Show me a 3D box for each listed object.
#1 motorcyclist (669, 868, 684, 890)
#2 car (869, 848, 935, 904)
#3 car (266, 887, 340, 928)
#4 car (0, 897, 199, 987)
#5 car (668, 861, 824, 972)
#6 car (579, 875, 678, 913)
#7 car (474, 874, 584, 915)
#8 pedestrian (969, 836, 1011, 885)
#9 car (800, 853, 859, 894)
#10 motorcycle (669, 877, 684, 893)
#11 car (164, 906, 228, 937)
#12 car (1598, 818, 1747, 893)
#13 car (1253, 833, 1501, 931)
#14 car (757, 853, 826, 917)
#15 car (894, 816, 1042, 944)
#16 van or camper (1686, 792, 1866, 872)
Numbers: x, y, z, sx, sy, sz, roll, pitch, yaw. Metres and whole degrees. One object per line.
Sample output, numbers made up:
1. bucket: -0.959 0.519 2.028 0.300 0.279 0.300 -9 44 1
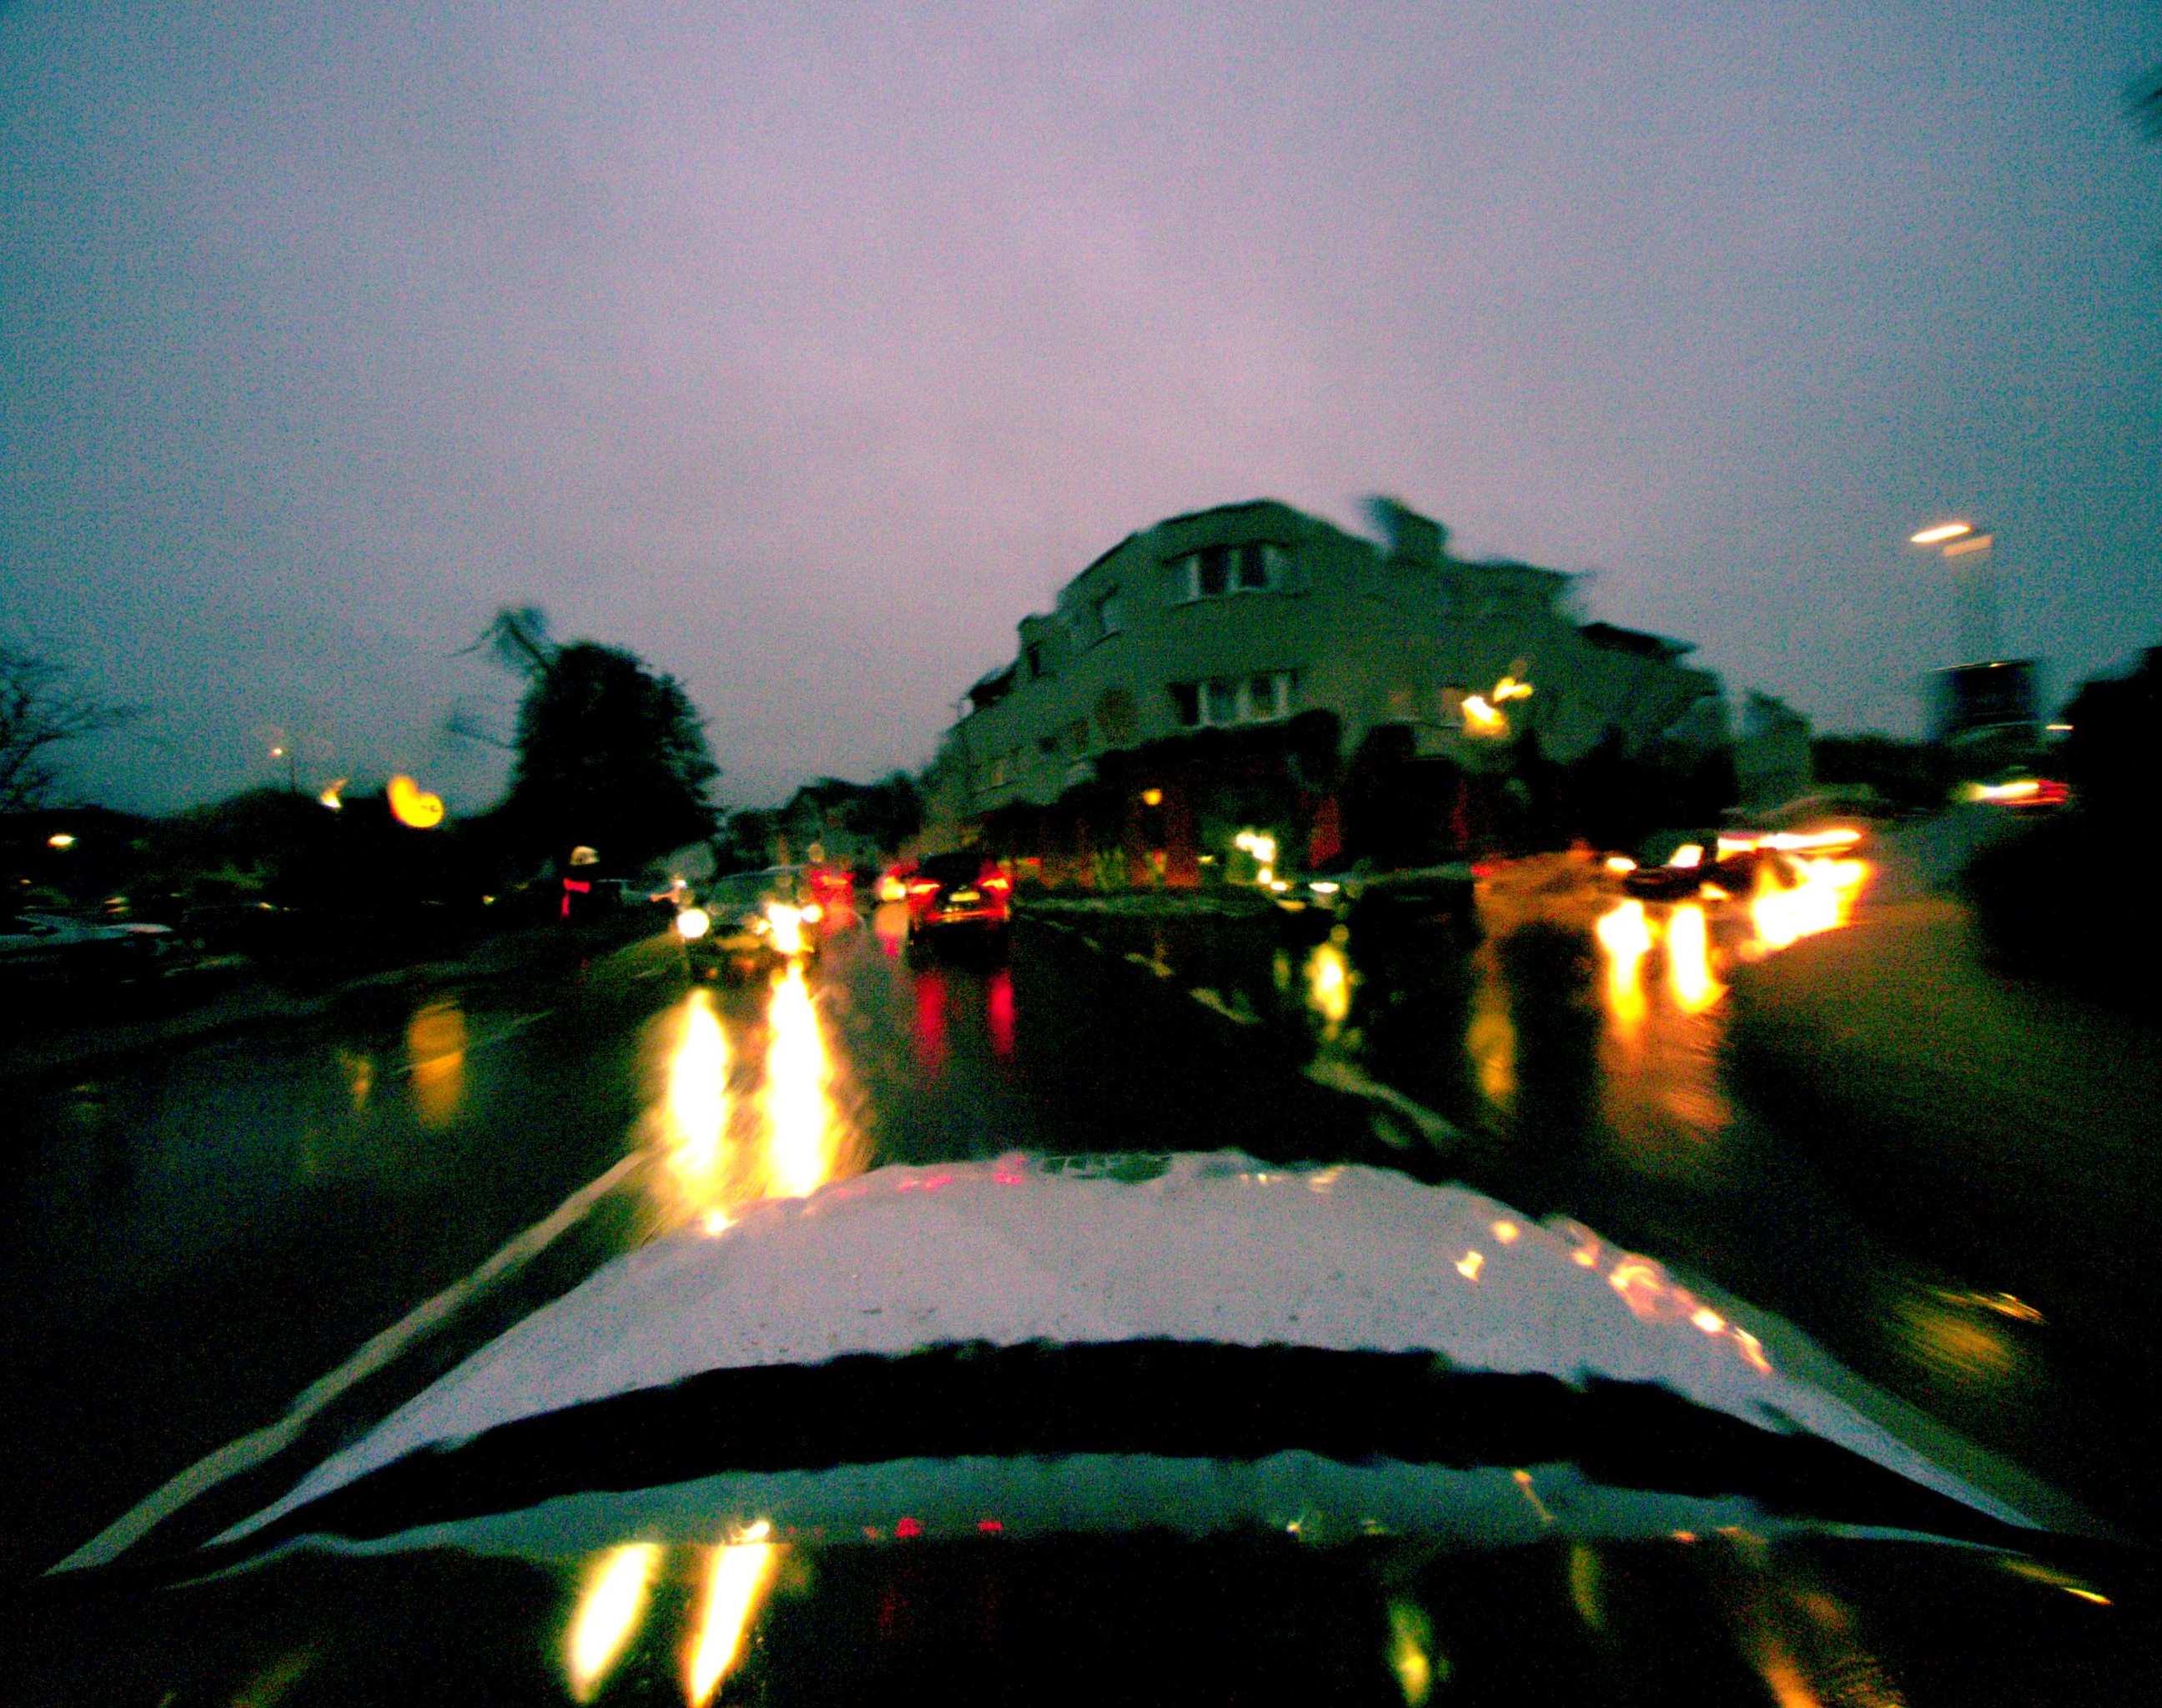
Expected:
1. motorcyclist: -28.619 1.738 57.592 0.870 1.485 0.901 -3 0 -27
2. car: -6.210 0.703 27.956 1.862 1.647 3.977 -4 1 -17
3. car: -51.500 3.495 54.049 2.295 2.279 5.218 -2 1 -30
4. car: -24.156 2.082 18.714 4.804 1.711 2.012 -5 1 -33
5. car: -5.504 0.928 13.877 1.664 1.486 3.983 -4 0 -12
6. car: -22.870 1.996 41.309 4.251 1.699 1.882 -1 -1 -29
7. car: -28.972 2.086 42.927 4.429 1.671 1.952 -4 2 -25
8. pedestrian: -3.795 0.277 33.846 1.260 1.865 1.293 -6 1 -23
9. car: -13.715 1.067 44.270 2.321 1.938 4.977 -5 0 -25
10. motorcycle: -28.646 2.175 57.684 0.870 1.024 2.091 -3 0 -27
11. car: -56.215 4.249 51.797 1.705 1.640 3.674 -1 0 -30
12. car: 15.703 0.021 21.561 4.150 1.787 2.024 -2 -1 -37
13. car: 5.320 0.418 14.587 4.193 1.441 1.782 -2 1 -27
14. car: -9.142 0.921 25.822 1.777 1.723 4.393 -4 1 -19
15. car: -2.403 0.445 16.072 2.312 1.938 4.996 -5 0 -13
16. van or camper: 23.518 -0.830 27.328 9.229 2.331 2.428 -3 2 -35
